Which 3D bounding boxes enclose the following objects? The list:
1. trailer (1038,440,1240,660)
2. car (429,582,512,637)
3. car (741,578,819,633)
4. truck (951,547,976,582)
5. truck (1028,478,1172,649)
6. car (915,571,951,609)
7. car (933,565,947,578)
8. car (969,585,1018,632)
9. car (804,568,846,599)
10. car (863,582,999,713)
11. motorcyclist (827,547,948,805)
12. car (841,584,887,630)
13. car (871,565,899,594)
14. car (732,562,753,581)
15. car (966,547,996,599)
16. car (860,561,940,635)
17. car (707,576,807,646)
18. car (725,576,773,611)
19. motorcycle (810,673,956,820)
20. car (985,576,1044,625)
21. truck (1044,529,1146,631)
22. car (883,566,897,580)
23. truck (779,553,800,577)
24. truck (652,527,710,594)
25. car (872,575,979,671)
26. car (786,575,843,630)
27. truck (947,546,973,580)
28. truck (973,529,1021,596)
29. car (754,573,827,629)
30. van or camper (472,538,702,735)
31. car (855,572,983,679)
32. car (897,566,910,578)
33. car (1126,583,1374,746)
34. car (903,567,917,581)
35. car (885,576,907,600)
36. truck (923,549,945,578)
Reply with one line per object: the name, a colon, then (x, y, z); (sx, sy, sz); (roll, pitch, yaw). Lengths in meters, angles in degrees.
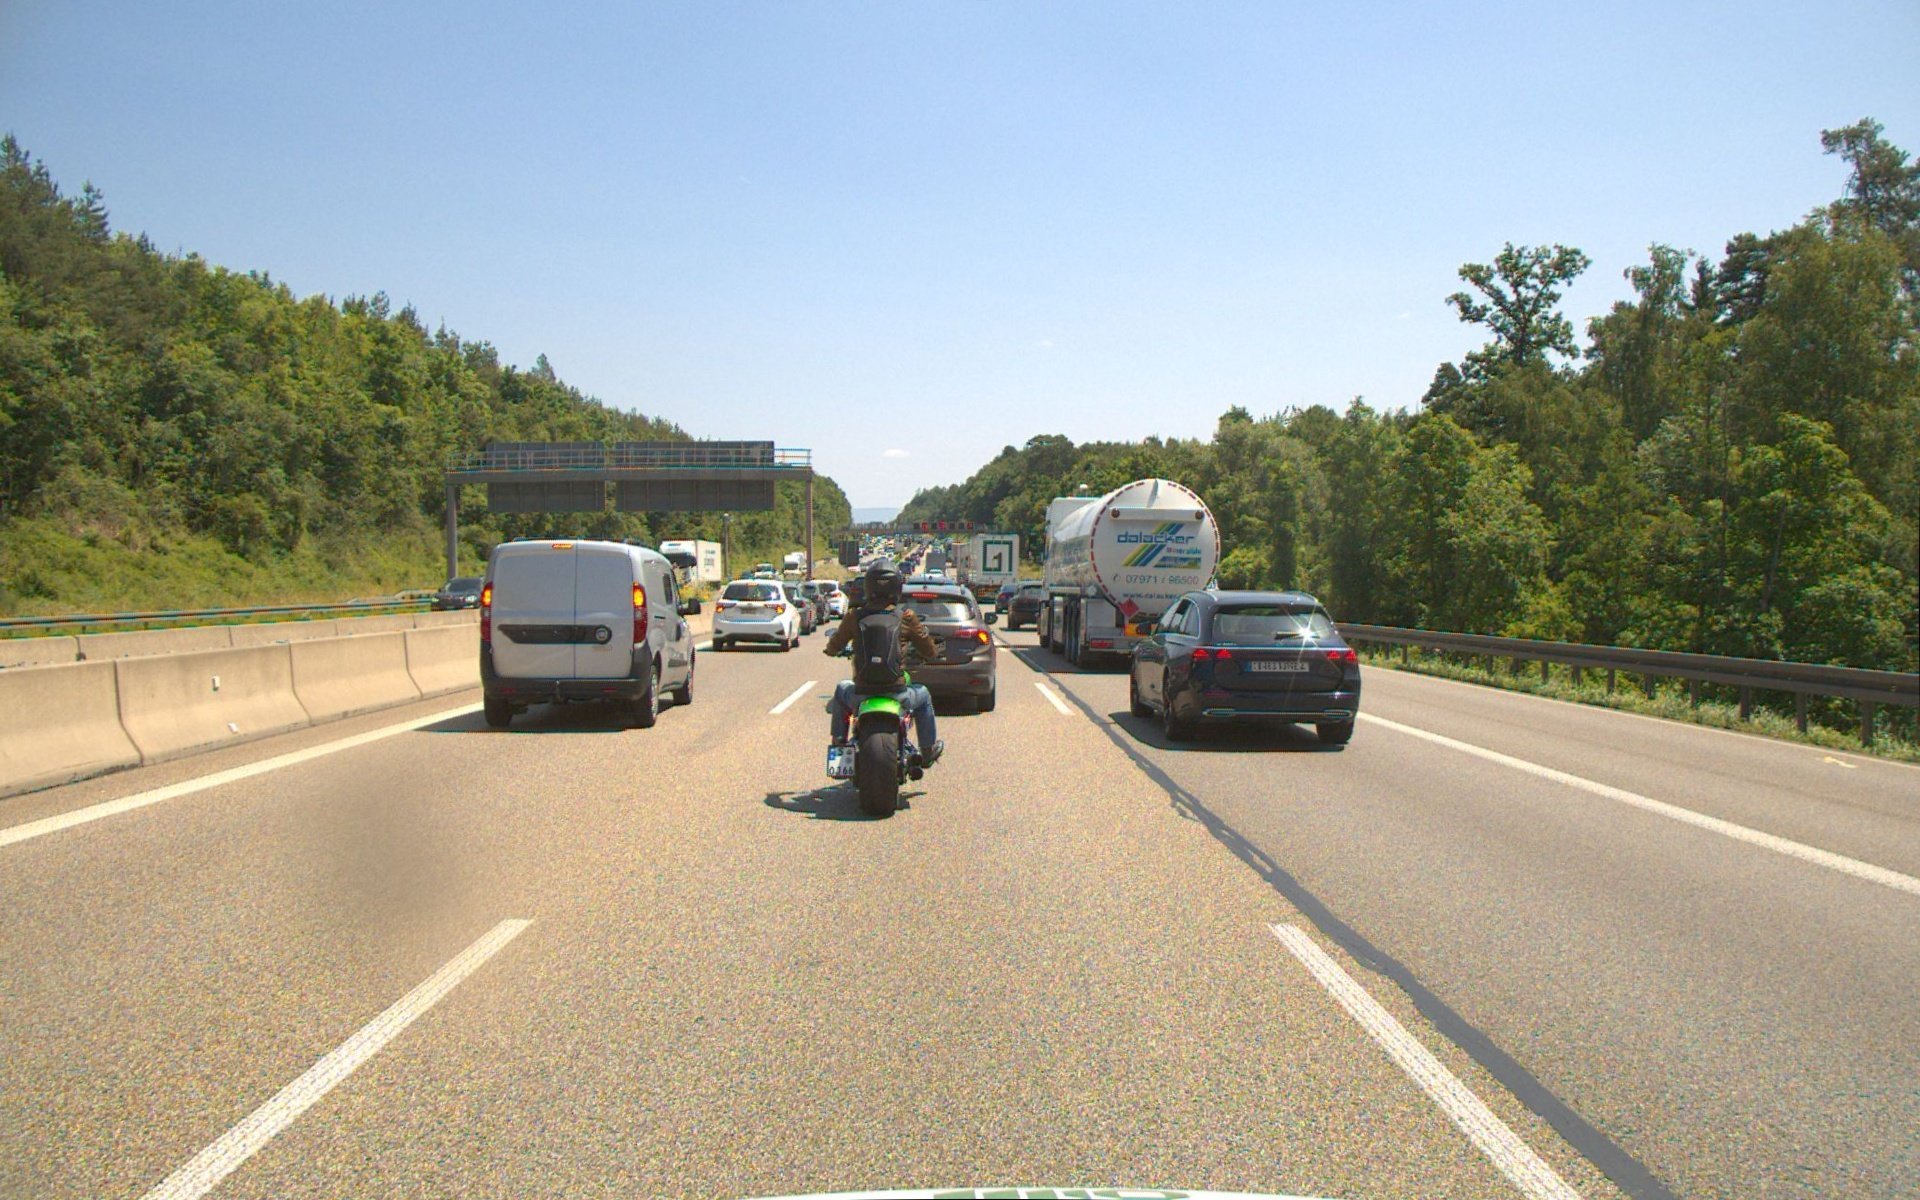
trailer: (3.327, -0.837, 33.741); (2.770, 3.735, 10.730); (1, 0, -1)
car: (-19.372, 0.370, 65.678); (2.071, 2.049, 4.476); (1, 0, -2)
car: (-5.074, 0.159, 47.120); (1.954, 1.490, 3.997); (1, 0, -3)
truck: (0.247, -2.316, 108.612); (1.558, 2.148, 3.752); (1, 0, 2)
truck: (3.228, -0.788, 39.755); (2.770, 3.735, 6.428); (1, 0, -1)
car: (-1.519, -0.544, 91.612); (1.953, 2.049, 3.999); (0, 0, -1)
car: (-2.739, -3.866, 225.440); (1.840, 1.646, 3.999); (0, 0, -1)
car: (1.473, 0.376, 74.108); (1.953, 2.049, 3.998); (1, 0, -2)
car: (-6.665, -0.799, 81.978); (1.728, 1.467, 3.999); (1, 0, 0)
car: (-0.443, 0.552, 20.914); (1.510, 1.476, 3.997); (1, 0, -4)
motorcyclist: (-0.496, 0.513, 11.589); (0.782, 1.717, 1.016); (1, 0, -1)
car: (-4.461, 0.318, 77.423); (1.953, 2.049, 3.999); (1, 0, -1)
car: (-5.557, -1.501, 122.318); (1.953, 2.049, 3.999); (0, 0, -1)
car: (-24.504, -3.176, 186.534); (1.953, 2.049, 3.999); (1, 0, -1)
car: (1.626, -2.110, 133.084); (2.123, 3.960, 9.328); (1, 0, -1)
car: (-1.538, -0.045, 42.759); (1.953, 1.806, 3.998); (1, 0, -2)
car: (-4.406, 0.237, 36.337); (1.740, 1.435, 3.999); (1, 0, -1)
car: (-9.483, -0.325, 74.559); (1.788, 1.520, 3.999); (0, 1, -2)
motorcycle: (-0.509, 0.985, 11.699); (0.917, 0.807, 2.298); (1, 0, -1)
car: (1.773, 0.019, 55.098); (1.740, 1.554, 3.999); (1, 0, -1)
truck: (4.261, -0.662, 53.758); (2.340, 3.031, 8.250); (1, 1, -2)
car: (-10.406, -4.000, 246.609); (1.953, 2.049, 3.999); (0, 0, -1)
truck: (-21.654, -4.417, 210.474); (2.134, 2.935, 6.740); (1, 0, -1)
truck: (-20.085, -2.774, 119.348); (2.889, 4.560, 7.517); (1, 0, -1)
car: (-0.696, 0.428, 32.491); (1.953, 1.741, 3.998); (1, 0, -2)
car: (-5.653, 0.107, 64.593); (1.953, 2.049, 3.999); (1, 0, -1)
truck: (-0.035, -3.915, 175.522); (2.641, 3.465, 10.476); (0, 0, -1)
truck: (2.306, -2.244, 101.832); (2.794, 3.888, 7.189); (1, 0, 2)
car: (-5.475, 0.047, 53.899); (1.953, 1.713, 4.329); (1, 0, -1)
van or camper: (-4.016, 0.313, 18.531); (1.816, 1.913, 4.558); (1, 1, -4)
car: (-0.653, 0.404, 27.599); (1.953, 1.629, 3.999); (1, 0, -1)
car: (-7.694, -3.870, 226.539); (1.734, 1.583, 3.999); (0, 0, -1)
car: (2.930, 0.611, 17.672); (1.755, 1.484, 4.623); (1, 0, -1)
car: (-7.626, -3.929, 252.280); (1.953, 2.049, 3.999); (0, 0, -1)
car: (-5.756, -1.066, 148.837); (1.860, 2.049, 3.999); (1, 0, -1)
truck: (-3.169, -4.489, 204.009); (2.641, 3.465, 10.476); (0, 0, -1)
